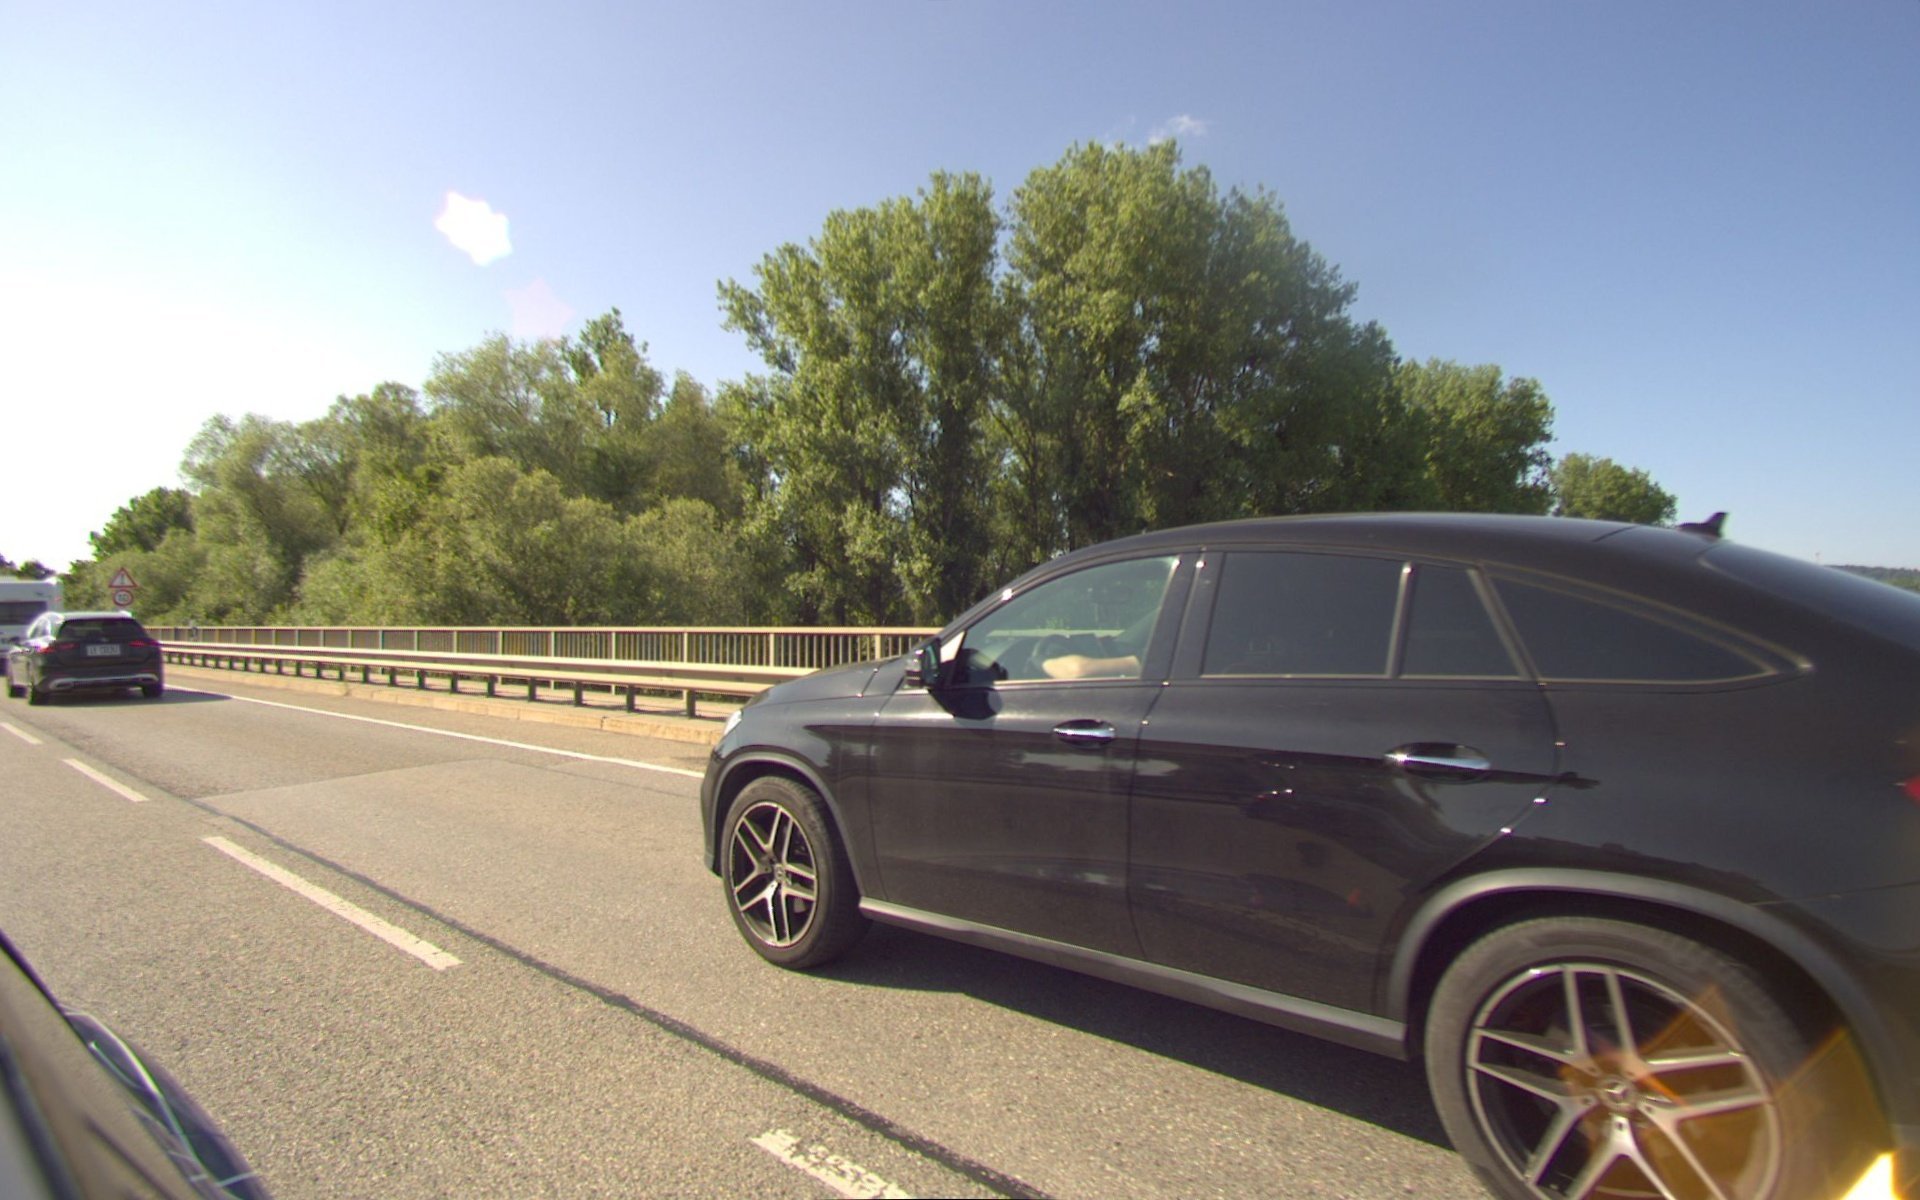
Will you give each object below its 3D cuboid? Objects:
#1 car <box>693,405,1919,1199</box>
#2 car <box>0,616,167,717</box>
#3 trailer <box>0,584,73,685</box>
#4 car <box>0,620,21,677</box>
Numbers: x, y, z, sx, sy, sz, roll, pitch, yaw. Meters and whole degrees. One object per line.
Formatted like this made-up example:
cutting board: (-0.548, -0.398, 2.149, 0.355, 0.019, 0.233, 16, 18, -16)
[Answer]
car: (1.175, 0.549, 3.497, 4.475, 1.706, 1.928, -2, -1, 42)
car: (-16.570, 1.173, 19.034, 4.430, 1.673, 1.784, -2, -1, 40)
trailer: (-29.011, 1.035, 30.516, 8.060, 2.758, 2.528, -2, -1, 42)
car: (-33.912, 1.656, 34.786, 5.007, 1.868, 1.962, -2, -1, 42)
